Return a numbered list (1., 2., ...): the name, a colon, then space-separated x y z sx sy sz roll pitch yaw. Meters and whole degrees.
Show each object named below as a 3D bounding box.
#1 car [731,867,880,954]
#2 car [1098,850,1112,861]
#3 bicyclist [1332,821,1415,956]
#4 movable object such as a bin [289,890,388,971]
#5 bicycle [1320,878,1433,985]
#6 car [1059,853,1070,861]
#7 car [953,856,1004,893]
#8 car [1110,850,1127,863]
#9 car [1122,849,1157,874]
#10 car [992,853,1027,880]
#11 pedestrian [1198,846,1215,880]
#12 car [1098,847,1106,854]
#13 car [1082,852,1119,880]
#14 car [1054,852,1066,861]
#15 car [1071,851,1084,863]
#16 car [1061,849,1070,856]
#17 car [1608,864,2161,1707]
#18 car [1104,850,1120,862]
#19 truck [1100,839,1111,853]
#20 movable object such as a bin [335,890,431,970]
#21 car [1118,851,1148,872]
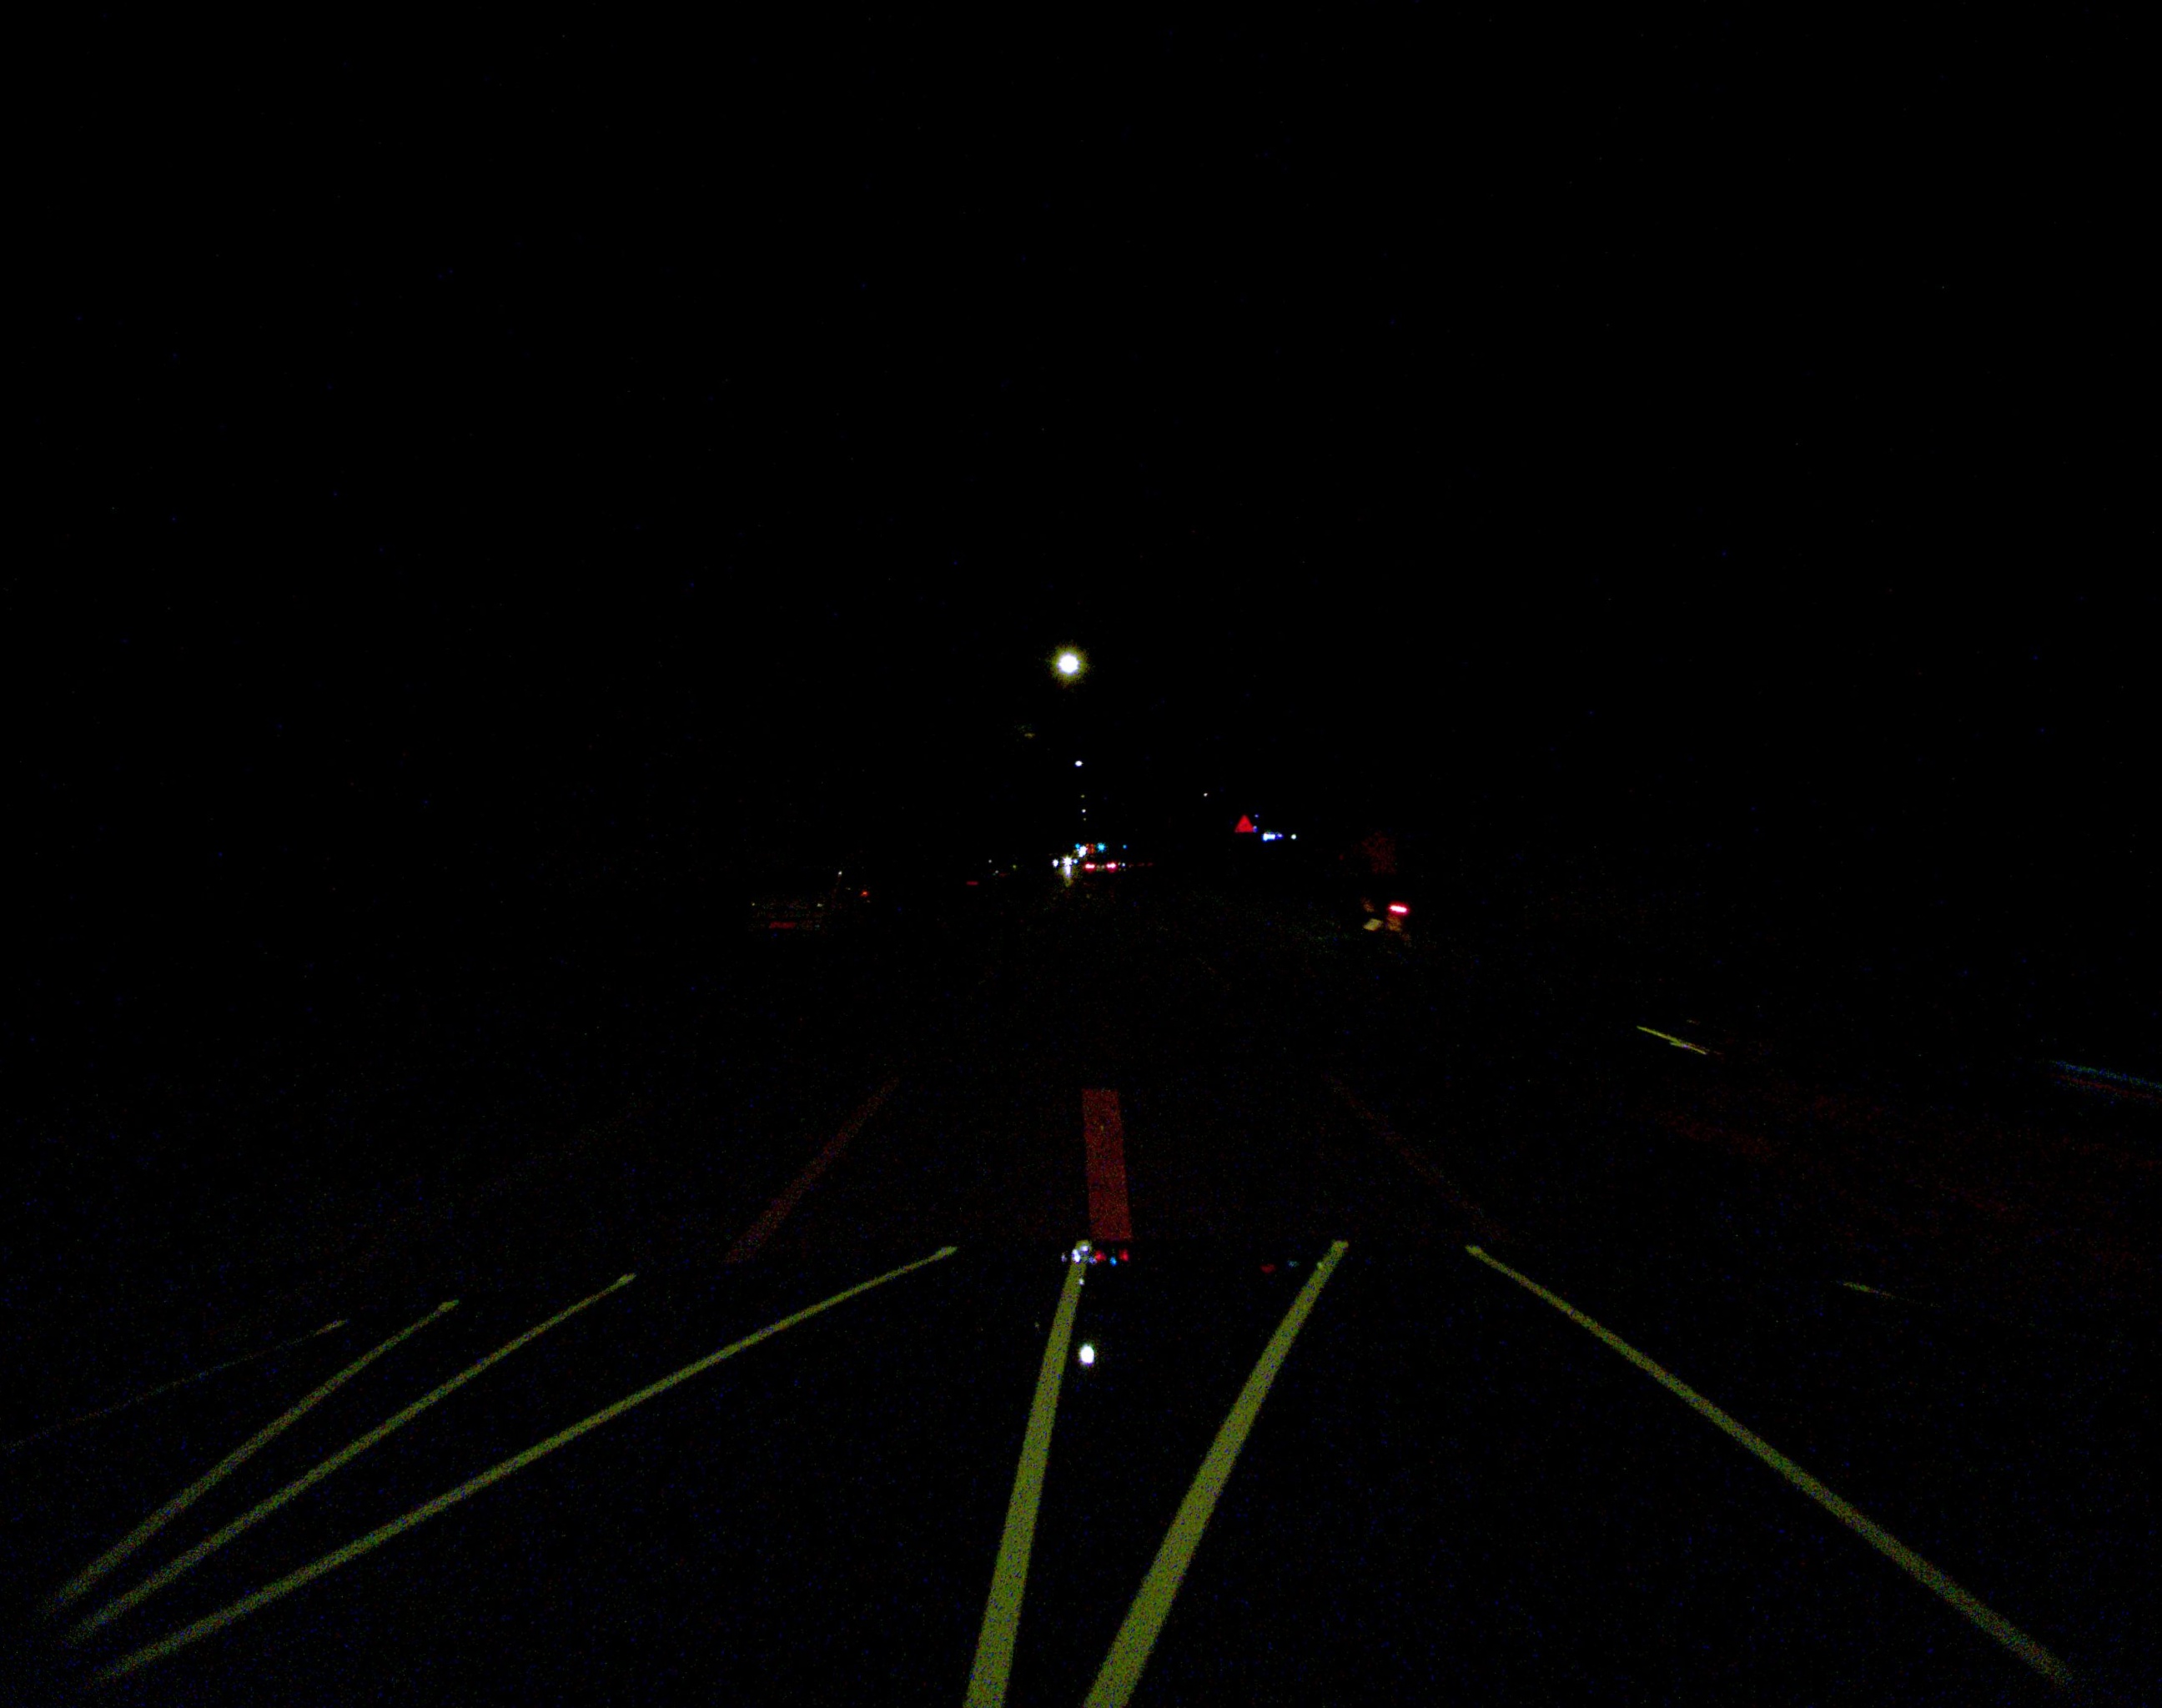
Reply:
1. car: -5.331 1.027 15.196 1.672 1.476 3.603 0 0 0
2. car: 3.734 0.200 119.488 1.874 1.635 3.999 -2 0 -3
3. bicyclist: 3.741 0.420 9.778 0.692 1.628 0.896 -2 1 1
4. movable object such as a bin: -10.560 1.071 10.831 0.609 1.042 0.755 -2 1 1
5. bicycle: 3.754 0.935 9.824 0.698 1.142 1.950 -2 1 1
6. car: -2.977 0.561 134.794 1.874 1.407 3.999 -2 0 0
7. car: -4.564 0.867 34.282 1.865 1.544 4.044 0 0 -1
8. car: 4.972 0.322 100.863 1.874 1.635 3.999 -2 0 -3
9. car: 3.974 0.513 52.323 1.864 1.524 4.587 -4 0 -1
10. car: -4.448 0.767 47.803 1.742 1.588 4.359 0 0 1
11. pedestrian: 6.570 0.477 39.885 0.670 1.716 0.866 -2 1 -2
12. car: 5.007 -0.768 180.307 1.873 1.551 4.353 -2 0 1
13. car: 1.139 0.676 45.992 1.862 1.525 4.026 -2 0 -3
14. car: -3.576 0.385 129.385 1.874 1.407 3.999 -2 0 0
15. car: -0.519 0.426 113.377 1.874 1.635 3.999 -2 0 0
16. car: -3.303 -0.346 162.028 1.874 1.407 3.999 -2 0 0
17. car: 2.553 0.814 0.858 1.585 1.493 3.396 -2 0 1
18. car: 4.447 0.291 110.057 1.874 1.635 3.999 -2 0 -3
19. truck: 4.973 -1.632 155.501 2.084 2.562 6.873 -2 0 1
20. movable object such as a bin: -9.904 1.061 10.799 0.609 1.042 0.755 -2 1 1
21. car: 3.897 0.556 57.838 1.864 1.458 3.896 -4 0 -1
